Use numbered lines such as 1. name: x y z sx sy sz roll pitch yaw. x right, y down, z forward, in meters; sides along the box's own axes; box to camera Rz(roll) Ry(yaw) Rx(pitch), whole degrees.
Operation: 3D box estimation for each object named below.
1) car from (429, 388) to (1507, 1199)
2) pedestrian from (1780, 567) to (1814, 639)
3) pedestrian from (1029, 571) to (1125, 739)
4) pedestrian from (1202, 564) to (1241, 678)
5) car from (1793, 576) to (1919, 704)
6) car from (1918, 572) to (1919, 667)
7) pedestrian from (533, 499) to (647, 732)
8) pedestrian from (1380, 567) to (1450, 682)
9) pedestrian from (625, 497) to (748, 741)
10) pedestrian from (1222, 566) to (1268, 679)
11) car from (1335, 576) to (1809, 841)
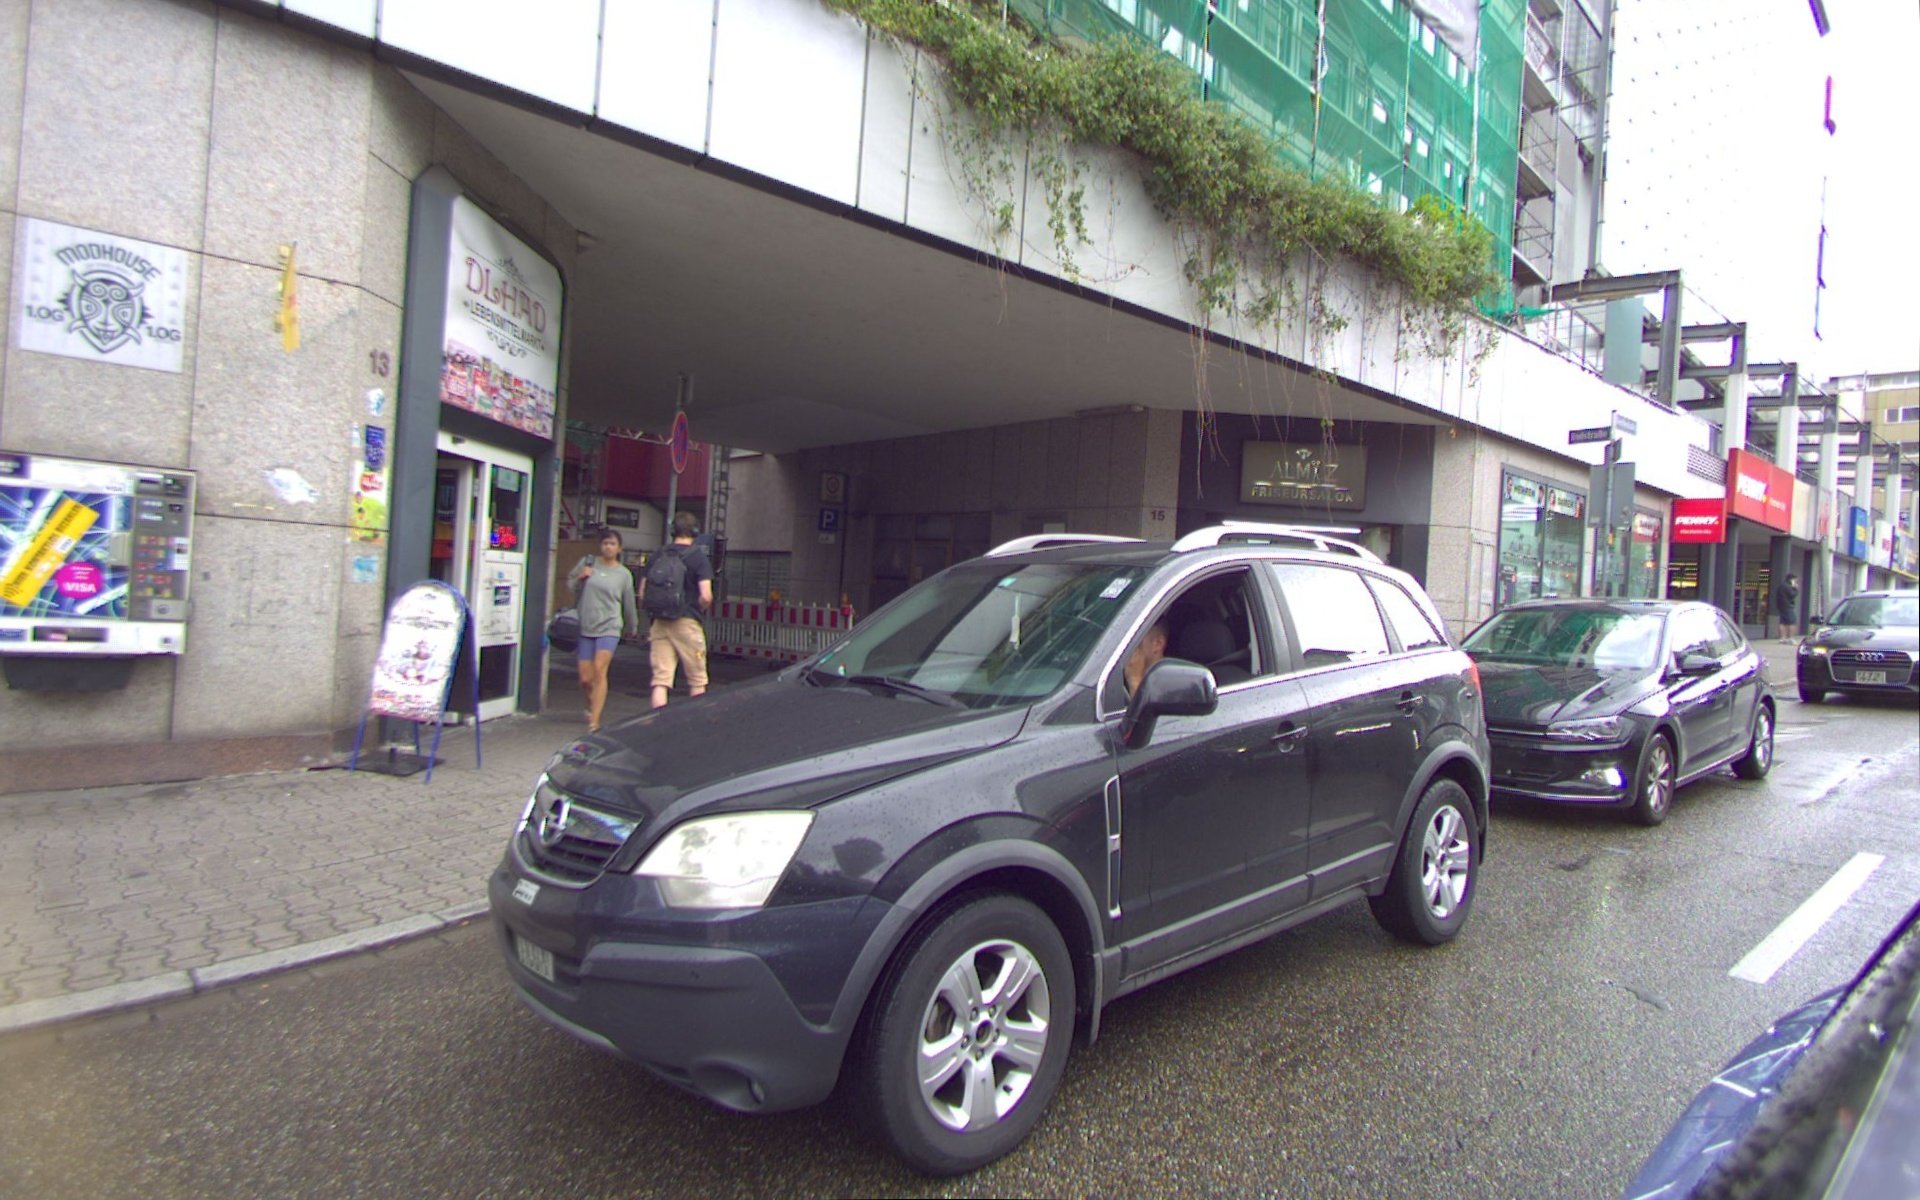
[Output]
1. car: 0.392 0.498 3.974 4.090 1.788 1.763 1 0 -41
2. pedestrian: 20.234 0.059 24.468 0.570 1.699 0.509 -1 3 -42
3. pedestrian: 1.351 0.597 11.717 0.760 1.838 0.743 0 3 -40
4. pedestrian: 4.023 0.315 15.601 0.474 1.729 0.467 0 0 1
5. car: 13.542 0.482 14.408 4.089 1.628 1.841 -1 1 -39
6. car: 19.747 0.390 19.053 4.088 1.728 1.988 1 0 -39
7. pedestrian: -3.113 0.095 8.484 0.729 1.837 0.774 0 5 -32
8. pedestrian: 6.797 0.347 15.136 0.626 1.663 0.735 -1 1 -17
9. pedestrian: -2.214 0.119 8.147 0.757 1.837 0.745 0 5 -29
10. pedestrian: 4.179 0.324 14.832 0.630 1.615 0.574 0 1 17
11. car: 4.834 0.642 7.779 4.086 1.523 1.759 1 0 -38
